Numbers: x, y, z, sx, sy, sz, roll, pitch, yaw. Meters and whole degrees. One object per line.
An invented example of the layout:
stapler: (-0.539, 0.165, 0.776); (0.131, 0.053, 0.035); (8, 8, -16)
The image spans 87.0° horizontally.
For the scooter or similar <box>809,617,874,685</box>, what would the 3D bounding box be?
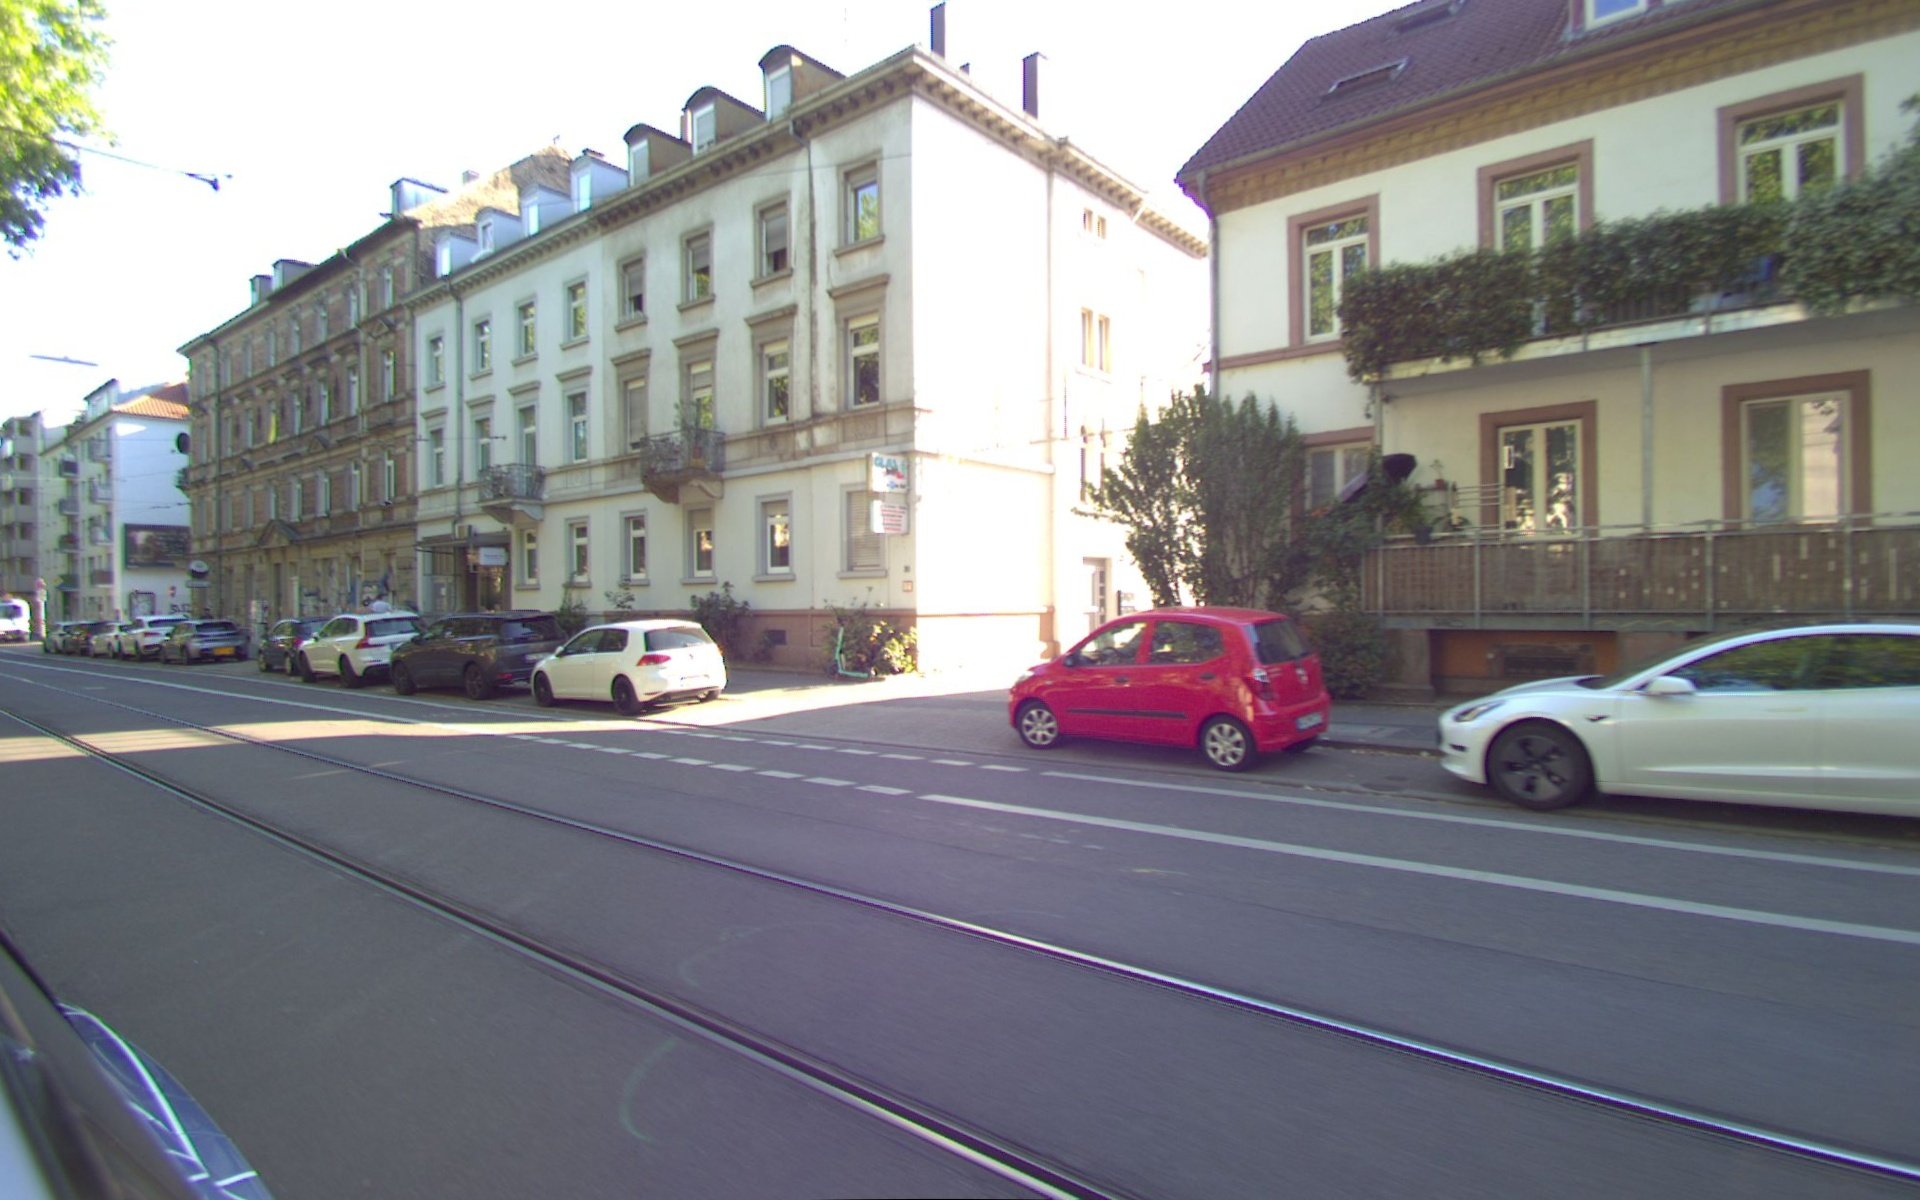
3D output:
scooter or similar: (-2.342, 0.981, 19.945); (0.441, 1.290, 1.577); (0, -1, -42)

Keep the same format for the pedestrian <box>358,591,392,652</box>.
pedestrian: (-19.726, 0.730, 34.125); (0.829, 2.029, 0.752); (-1, -1, 38)

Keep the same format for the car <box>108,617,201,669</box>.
car: (-29.734, 1.531, 37.301); (4.714, 1.736, 1.768); (-1, 1, 40)

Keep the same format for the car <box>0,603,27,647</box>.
car: (-57.463, 1.503, 60.414); (5.664, 2.555, 2.043); (-1, -1, 42)

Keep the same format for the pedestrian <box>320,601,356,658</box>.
pedestrian: (-20.432, 0.951, 33.240); (0.828, 1.835, 0.752); (-1, -1, 37)

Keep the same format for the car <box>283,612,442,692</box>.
car: (-14.278, 1.165, 24.071); (4.760, 1.716, 1.837); (-1, -1, 41)

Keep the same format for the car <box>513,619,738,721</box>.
car: (-5.849, 1.124, 17.439); (4.254, 1.488, 1.670); (-1, 0, 40)

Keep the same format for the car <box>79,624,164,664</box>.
car: (-33.661, 1.733, 40.610); (3.992, 1.431, 1.684); (-1, 1, 36)

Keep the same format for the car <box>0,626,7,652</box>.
car: (-61.463, 2.449, 63.603); (4.341, 1.644, 1.702); (-1, -1, 38)

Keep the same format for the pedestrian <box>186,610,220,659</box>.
pedestrian: (-29.151, 1.325, 38.981); (1.053, 1.814, 0.679); (-1, 0, 31)

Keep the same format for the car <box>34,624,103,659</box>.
car: (-41.702, 1.904, 47.306); (4.040, 1.503, 1.724); (-1, 1, 39)

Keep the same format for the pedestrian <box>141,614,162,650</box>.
pedestrian: (-40.835, 1.611, 51.107); (0.893, 1.762, 0.649); (-3, -1, 43)

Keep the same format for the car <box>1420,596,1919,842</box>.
car: (6.122, 0.758, 7.450); (4.681, 1.514, 1.810); (-1, 0, 38)

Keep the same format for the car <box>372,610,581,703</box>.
car: (-9.988, 1.088, 20.762); (4.648, 1.716, 1.841); (-1, -1, 35)

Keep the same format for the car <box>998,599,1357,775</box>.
car: (2.217, 0.817, 10.836); (3.449, 1.574, 1.552); (-2, -1, 44)

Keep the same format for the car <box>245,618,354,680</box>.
car: (-17.889, 1.281, 27.349); (3.923, 1.527, 1.537); (-1, -1, 42)

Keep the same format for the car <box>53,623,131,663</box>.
car: (-37.787, 1.813, 44.016); (4.781, 1.574, 1.724); (-1, 1, 39)

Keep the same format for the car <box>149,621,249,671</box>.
car: (-25.415, 1.490, 33.759); (4.058, 1.532, 1.647); (-1, 1, 38)
